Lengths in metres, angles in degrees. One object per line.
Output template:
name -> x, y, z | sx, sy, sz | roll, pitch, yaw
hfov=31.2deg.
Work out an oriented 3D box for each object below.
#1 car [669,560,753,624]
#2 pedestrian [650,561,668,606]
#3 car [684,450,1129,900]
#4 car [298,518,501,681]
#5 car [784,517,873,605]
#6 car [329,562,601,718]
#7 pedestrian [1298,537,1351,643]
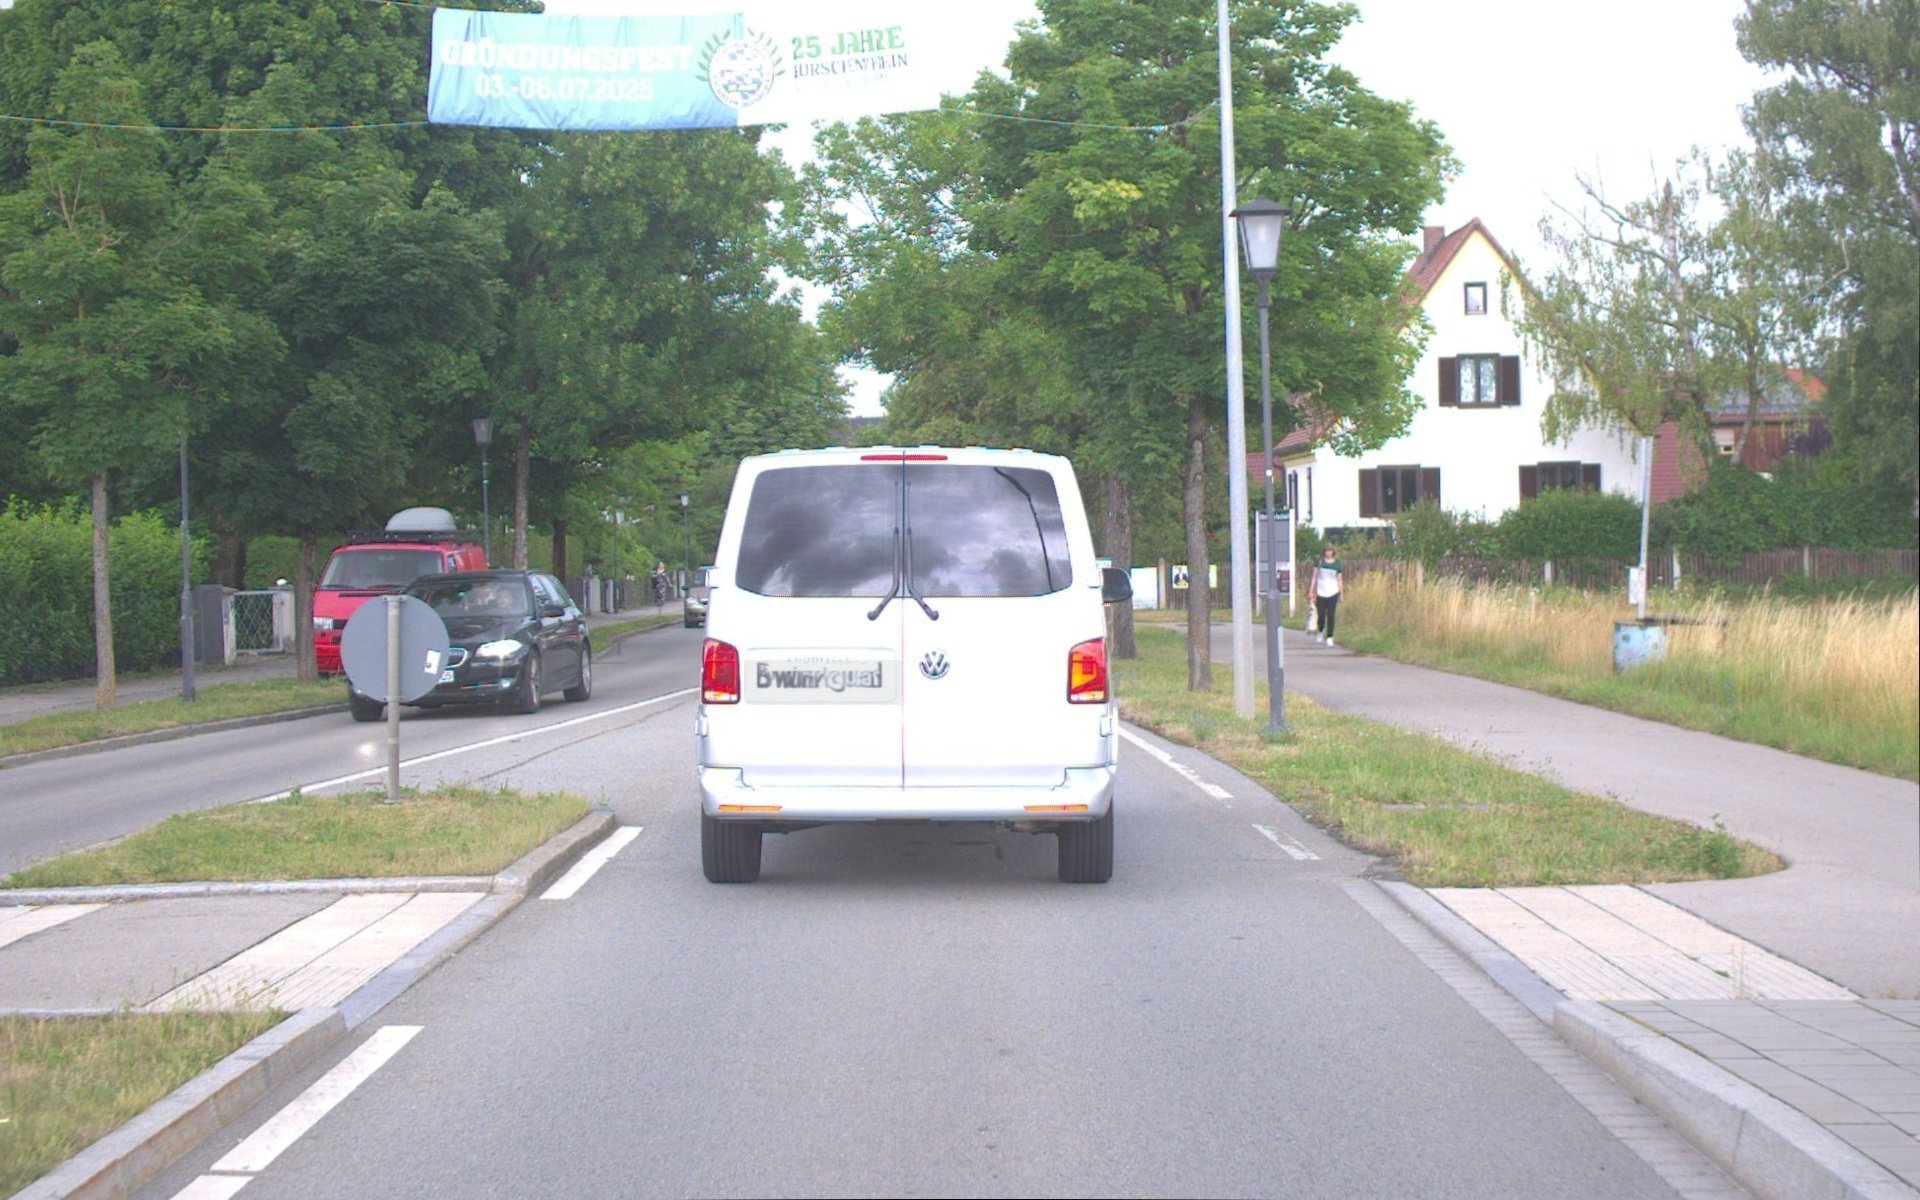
car -> -6.455, -0.225, 89.384 | 1.707, 1.527, 3.507 | -2, 1, 3
pedestrian -> -10.413, -0.558, 118.925 | 0.622, 1.544, 0.522 | 1, 0, -4
car -> -0.262, 0.305, 16.582 | 1.888, 1.905, 4.000 | 0, 0, -1
car -> -7.380, -0.048, 45.685 | 1.830, 2.023, 5.046 | 1, 1, 0
car -> -3.102, -0.918, 82.038 | 1.993, 2.007, 4.000 | 1, 0, -1
car -> -5.048, 0.365, 35.665 | 1.920, 1.448, 4.496 | -1, 1, 3
pedestrian -> 6.057, -0.167, 57.191 | 0.837, 1.749, 0.869 | 0, 0, 4
